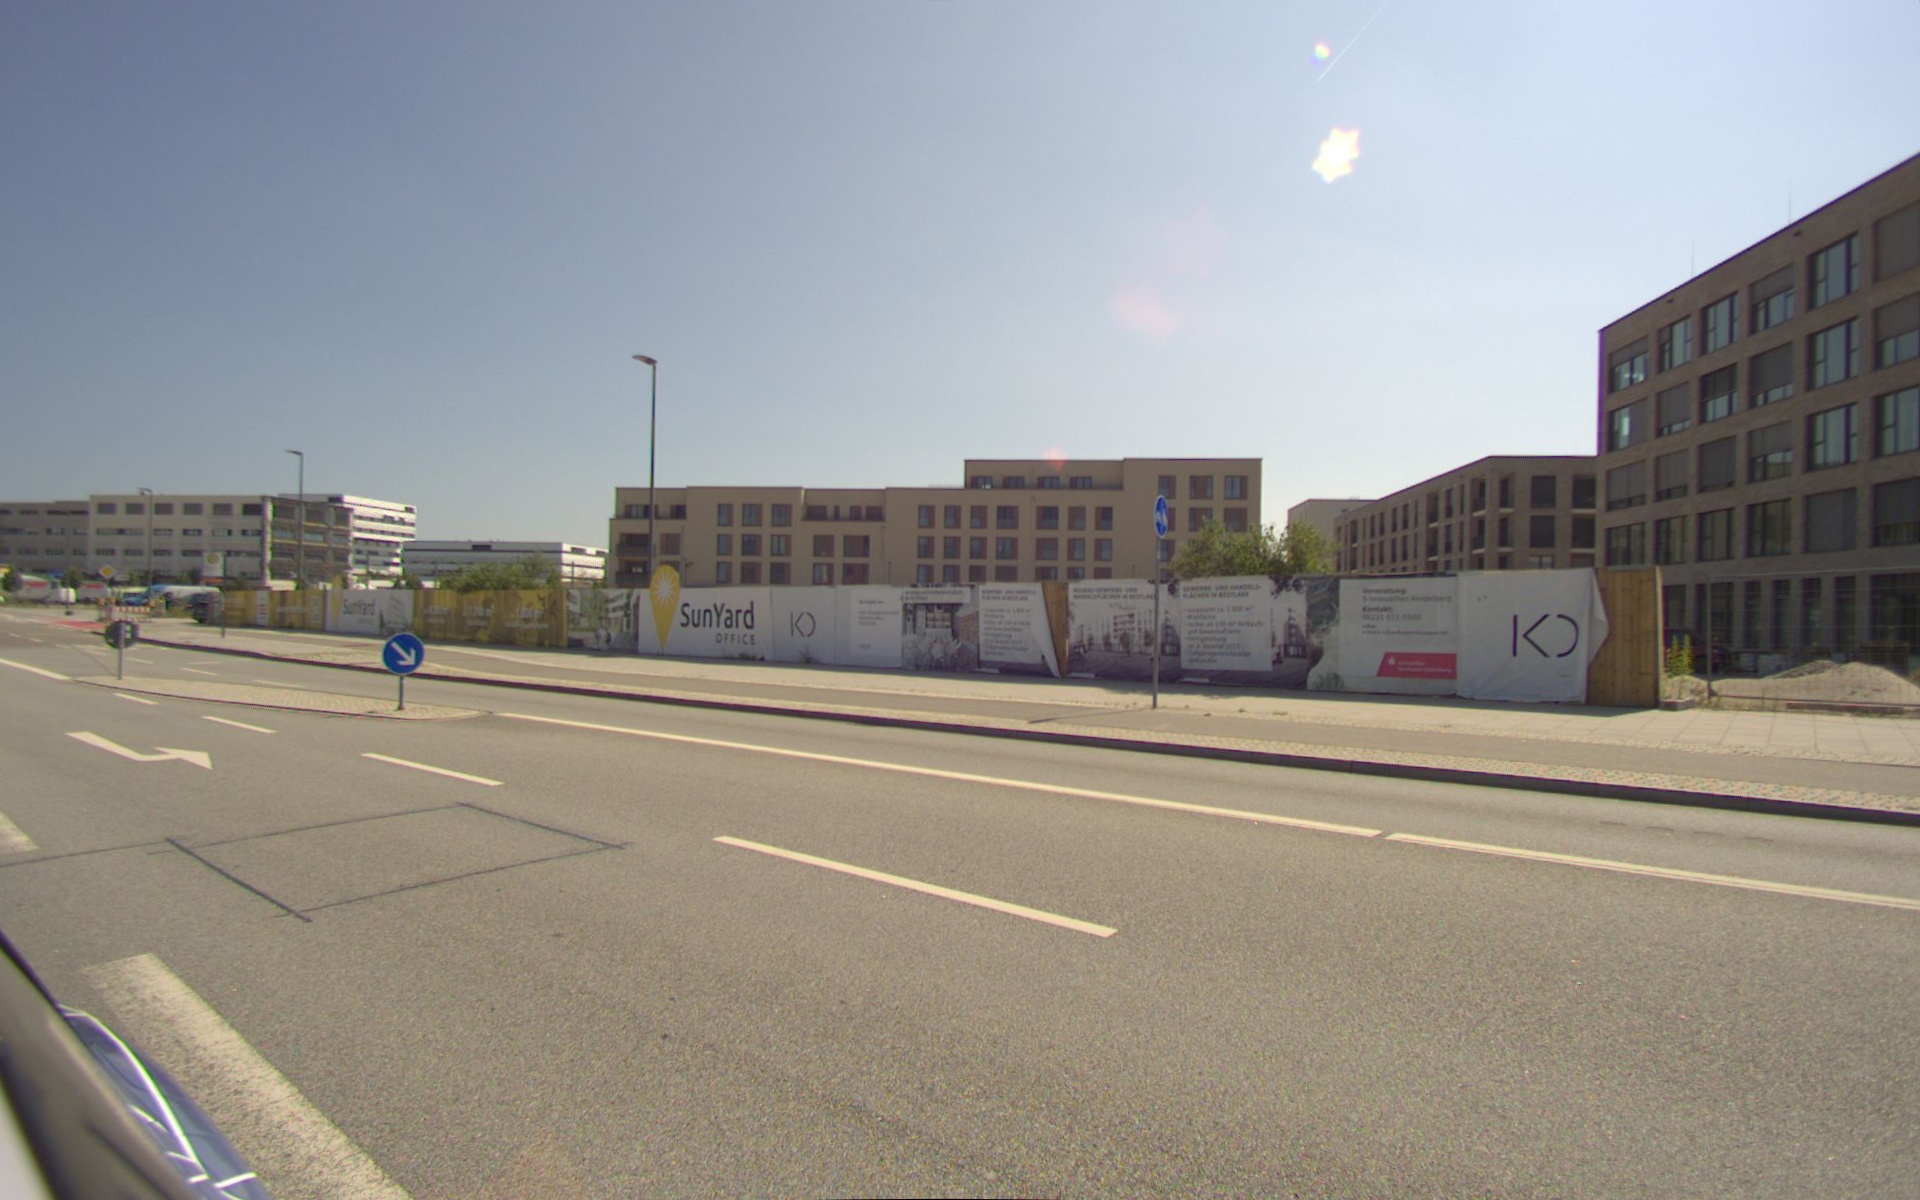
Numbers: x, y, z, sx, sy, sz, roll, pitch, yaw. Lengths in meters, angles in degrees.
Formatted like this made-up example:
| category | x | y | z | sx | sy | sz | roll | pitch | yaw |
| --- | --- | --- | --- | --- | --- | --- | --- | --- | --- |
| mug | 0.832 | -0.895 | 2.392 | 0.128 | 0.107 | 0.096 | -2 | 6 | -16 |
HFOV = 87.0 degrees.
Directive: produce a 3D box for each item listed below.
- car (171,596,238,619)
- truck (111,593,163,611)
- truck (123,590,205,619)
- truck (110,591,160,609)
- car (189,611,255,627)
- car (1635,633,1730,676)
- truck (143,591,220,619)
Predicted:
| category | x | y | z | sx | sy | sz | roll | pitch | yaw |
| --- | --- | --- | --- | --- | --- | --- | --- | --- | --- |
| car | -60.333 | 0.592 | 80.840 | 1.888 | 1.731 | 3.885 | 0 | 1 | 35 |
| truck | -114.912 | 0.283 | 141.393 | 1.996 | 2.494 | 5.270 | 0 | 1 | 36 |
| truck | -72.552 | 0.375 | 92.365 | 1.996 | 2.494 | 5.567 | 0 | 1 | 36 |
| truck | -120.241 | -0.007 | 147.561 | 1.998 | 2.494 | 5.346 | 0 | 1 | 38 |
| car | -48.284 | 1.224 | 66.224 | 1.293 | 0.960 | 3.315 | 0 | 1 | 43 |
| car | 32.015 | 2.385 | 44.992 | 1.814 | 1.666 | 3.772 | 0 | 0 | 7 |
| truck | -66.926 | 0.413 | 87.088 | 1.998 | 2.245 | 4.942 | 0 | 1 | 39 |
